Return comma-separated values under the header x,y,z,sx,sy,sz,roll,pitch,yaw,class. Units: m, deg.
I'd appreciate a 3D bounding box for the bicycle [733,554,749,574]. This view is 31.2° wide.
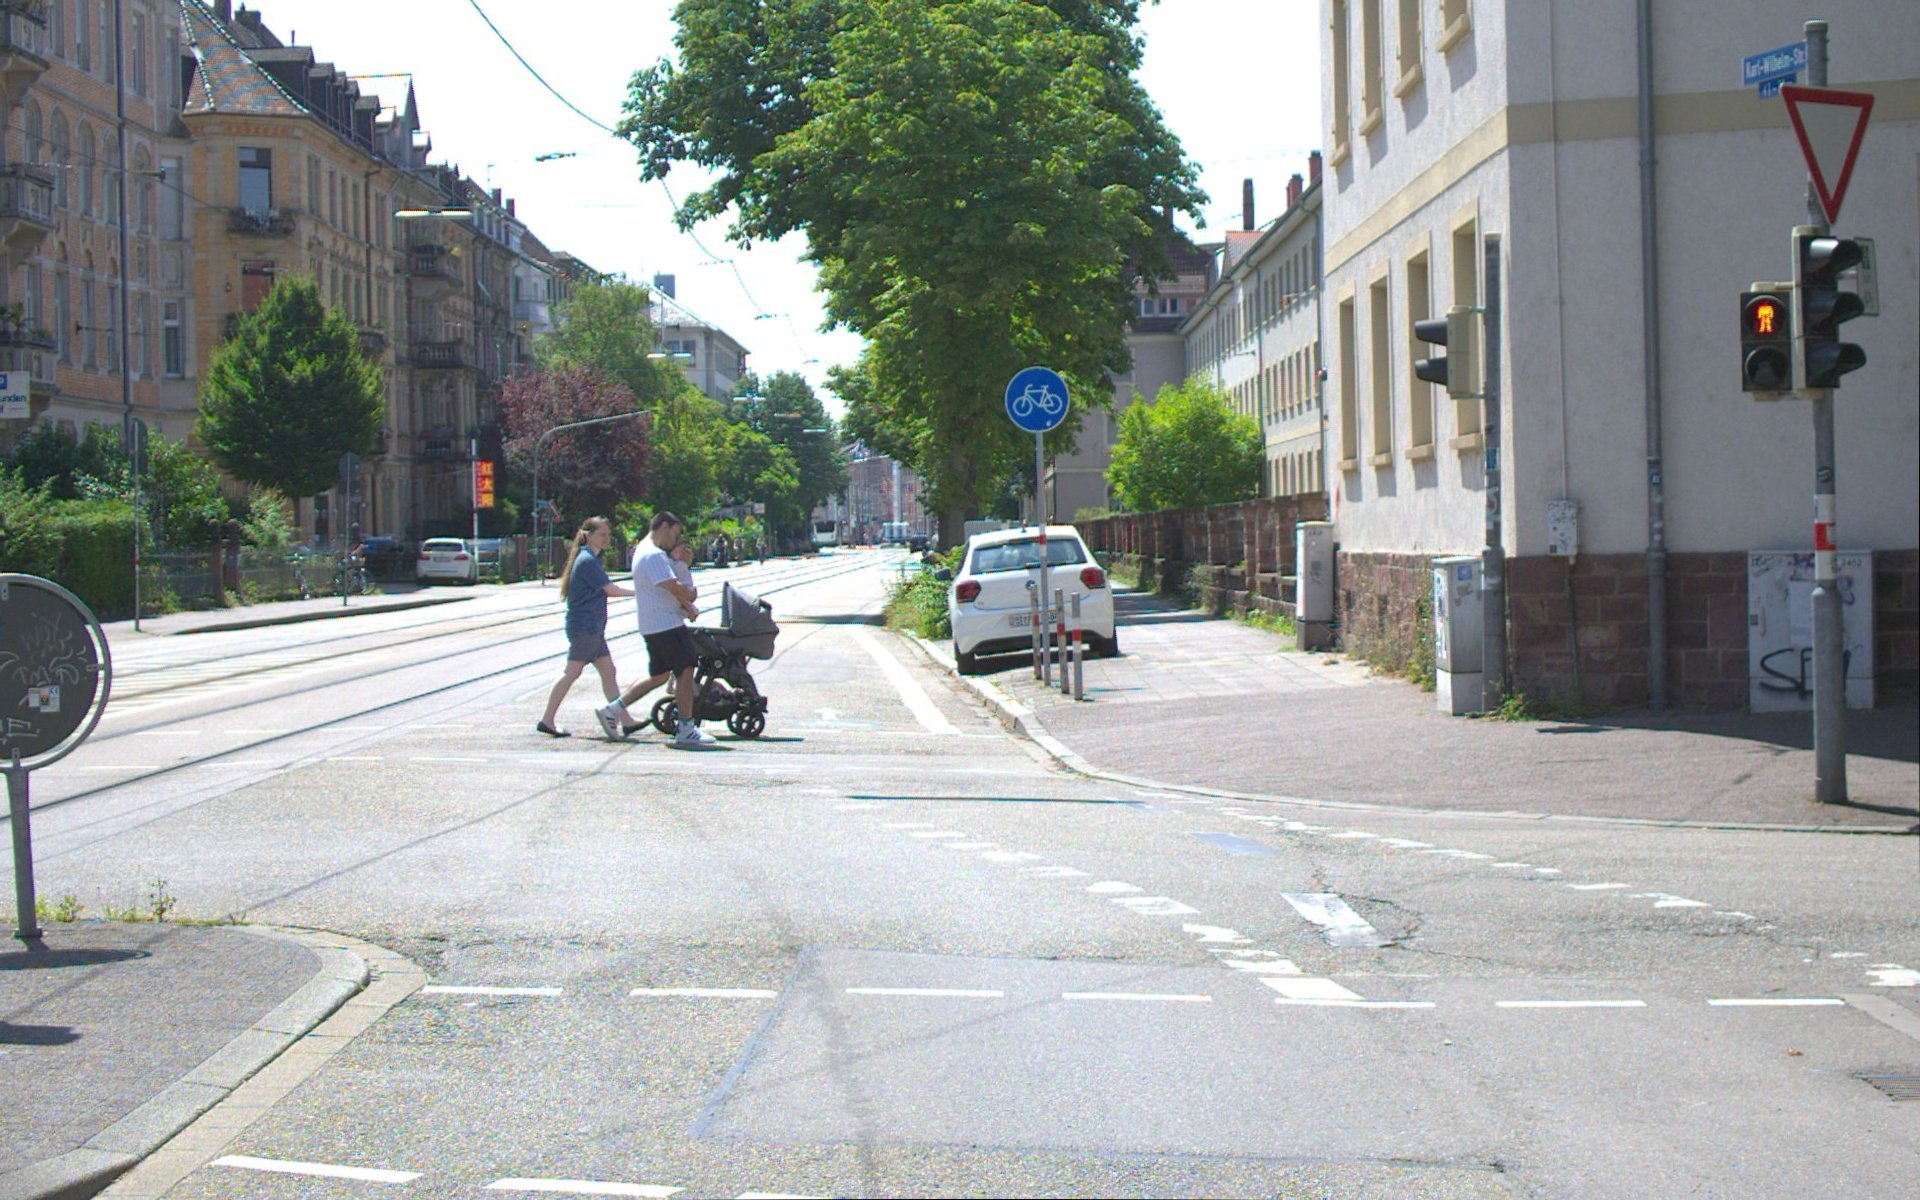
x,y,z,sx,sy,sz,roll,pitch,yaw,class
-12.284,-2.039,192.926,0.727,1.119,2.085,1,1,1,bicycle

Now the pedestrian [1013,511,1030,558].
x,y,z,sx,sy,sz,roll,pitch,yaw,class
2.088,-2.222,116.685,0.521,1.557,0.573,-1,1,-1,pedestrian

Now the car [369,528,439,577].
x,y,z,sx,sy,sz,roll,pitch,yaw,class
-20.024,-1.715,123.908,1.919,1.709,4.000,1,1,-1,car

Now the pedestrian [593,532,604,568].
x,y,z,sx,sy,sz,roll,pitch,yaw,class
-14.946,-2.070,142.115,0.406,1.456,0.436,-1,1,-1,pedestrian

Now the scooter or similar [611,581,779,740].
x,y,z,sx,sy,sz,roll,pitch,yaw,class
-1.971,0.445,25.483,1.201,1.151,0.558,1,0,-7,scooter or similar

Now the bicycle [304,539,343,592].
x,y,z,sx,sy,sz,roll,pitch,yaw,class
-15.664,-0.859,84.674,0.677,1.274,1.919,-1,1,-3,bicycle

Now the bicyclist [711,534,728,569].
x,y,z,sx,sy,sz,roll,pitch,yaw,class
-12.131,-2.449,173.704,0.727,1.762,1.079,1,0,1,bicyclist

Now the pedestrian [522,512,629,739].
x,y,z,sx,sy,sz,roll,pitch,yaw,class
-2.820,0.184,25.234,0.675,1.640,0.558,1,0,3,pedestrian

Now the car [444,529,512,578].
x,y,z,sx,sy,sz,roll,pitch,yaw,class
-17.338,-1.677,123.835,1.919,1.709,4.000,1,1,-1,car

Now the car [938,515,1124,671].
x,y,z,sx,sy,sz,roll,pitch,yaw,class
0.720,-0.089,37.333,1.815,1.511,4.000,-3,1,-1,car

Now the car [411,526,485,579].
x,y,z,sx,sy,sz,roll,pitch,yaw,class
-17.194,-1.591,115.571,1.919,1.709,4.000,1,1,-1,car

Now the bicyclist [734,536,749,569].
x,y,z,sx,sy,sz,roll,pitch,yaw,class
-12.276,-2.662,192.950,0.727,1.812,1.079,1,0,1,bicyclist

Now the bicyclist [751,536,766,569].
x,y,z,sx,sy,sz,roll,pitch,yaw,class
-11.309,-2.669,192.830,0.727,1.812,1.079,1,0,1,bicyclist

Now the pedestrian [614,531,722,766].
x,y,z,sx,sy,sz,roll,pitch,yaw,class
-2.067,0.336,24.392,0.675,1.640,0.558,1,0,3,pedestrian

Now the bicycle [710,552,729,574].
x,y,z,sx,sy,sz,roll,pitch,yaw,class
-12.138,-1.869,173.632,0.727,1.119,2.085,1,1,1,bicycle

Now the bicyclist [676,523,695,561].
x,y,z,sx,sy,sz,roll,pitch,yaw,class
-12.009,-2.541,150.493,0.727,1.623,1.079,1,0,1,bicyclist

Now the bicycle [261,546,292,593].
x,y,z,sx,sy,sz,roll,pitch,yaw,class
-15.907,-0.709,80.031,0.677,1.061,1.919,-1,1,-11,bicycle
